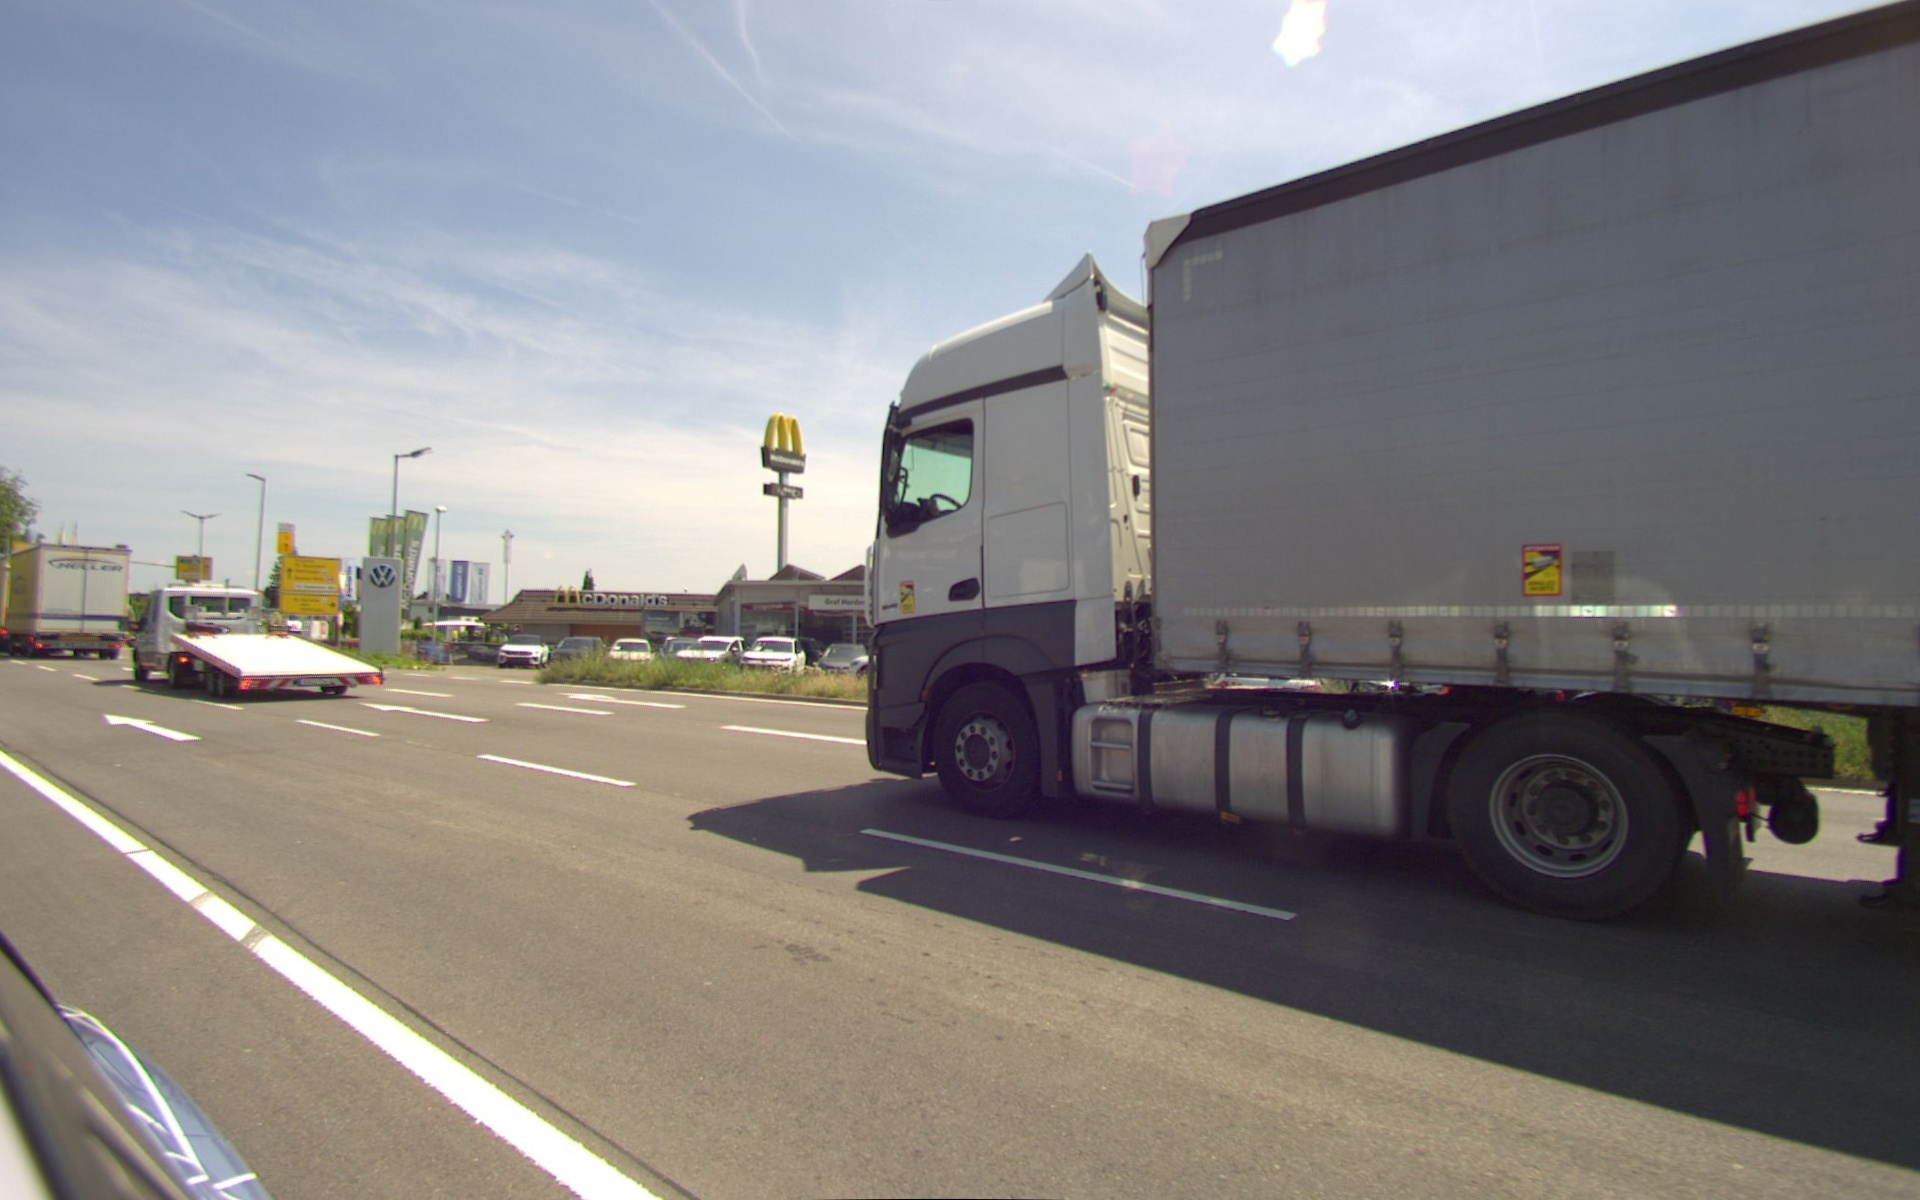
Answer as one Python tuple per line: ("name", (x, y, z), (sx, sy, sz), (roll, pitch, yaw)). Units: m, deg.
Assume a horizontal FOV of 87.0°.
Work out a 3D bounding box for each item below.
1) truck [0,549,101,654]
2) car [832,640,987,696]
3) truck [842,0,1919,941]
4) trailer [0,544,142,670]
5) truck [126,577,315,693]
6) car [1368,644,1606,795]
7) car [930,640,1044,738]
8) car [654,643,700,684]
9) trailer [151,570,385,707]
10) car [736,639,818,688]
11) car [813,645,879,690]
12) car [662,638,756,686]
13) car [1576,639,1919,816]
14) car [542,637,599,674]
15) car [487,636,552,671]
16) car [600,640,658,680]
("truck", (-40.561, 0.177, 44.151), (10.347, 4.136, 2.998), (-1, -2, 40))
("car", (-1.512, 2.086, 31.445), (4.618, 1.586, 1.821), (1, -2, 4))
("truck", (6.154, -0.641, 3.641), (16.474, 3.918, 2.761), (0, -1, 41))
("trailer", (-34.637, 0.342, 38.998), (10.052, 4.319, 2.980), (-1, -2, 41))
("truck", (-17.185, 0.816, 23.379), (5.674, 2.358, 2.398), (-1, -4, 43))
("car", (7.135, 1.513, 14.181), (1.780, 1.763, 3.857), (0, -2, 9))
("car", (0.654, 1.726, 20.774), (1.853, 1.763, 3.857), (0, -2, 9))
("car", (-10.916, 2.425, 39.196), (1.585, 1.490, 4.114), (2, -3, -14))
("trailer", (-14.324, 0.770, 20.704), (6.896, 2.356, 2.402), (-1, -4, 43))
("car", (-6.336, 2.175, 35.521), (1.800, 1.586, 3.993), (1, -2, 5))
("car", (-3.890, 2.299, 35.124), (1.798, 1.421, 4.170), (1, -2, 0))
("car", (-8.810, 2.165, 35.935), (1.802, 1.557, 4.129), (1, -2, 8))
("car", (9.035, 1.311, 11.804), (1.780, 1.699, 3.857), (0, -2, 9))
("car", (-16.517, 2.341, 43.032), (1.747, 1.490, 4.011), (2, -3, -14))
("car", (-20.177, 2.436, 46.503), (2.092, 1.490, 4.011), (2, -3, -14))
("car", (-12.860, 2.318, 39.555), (1.741, 1.426, 3.992), (2, -2, -12))
